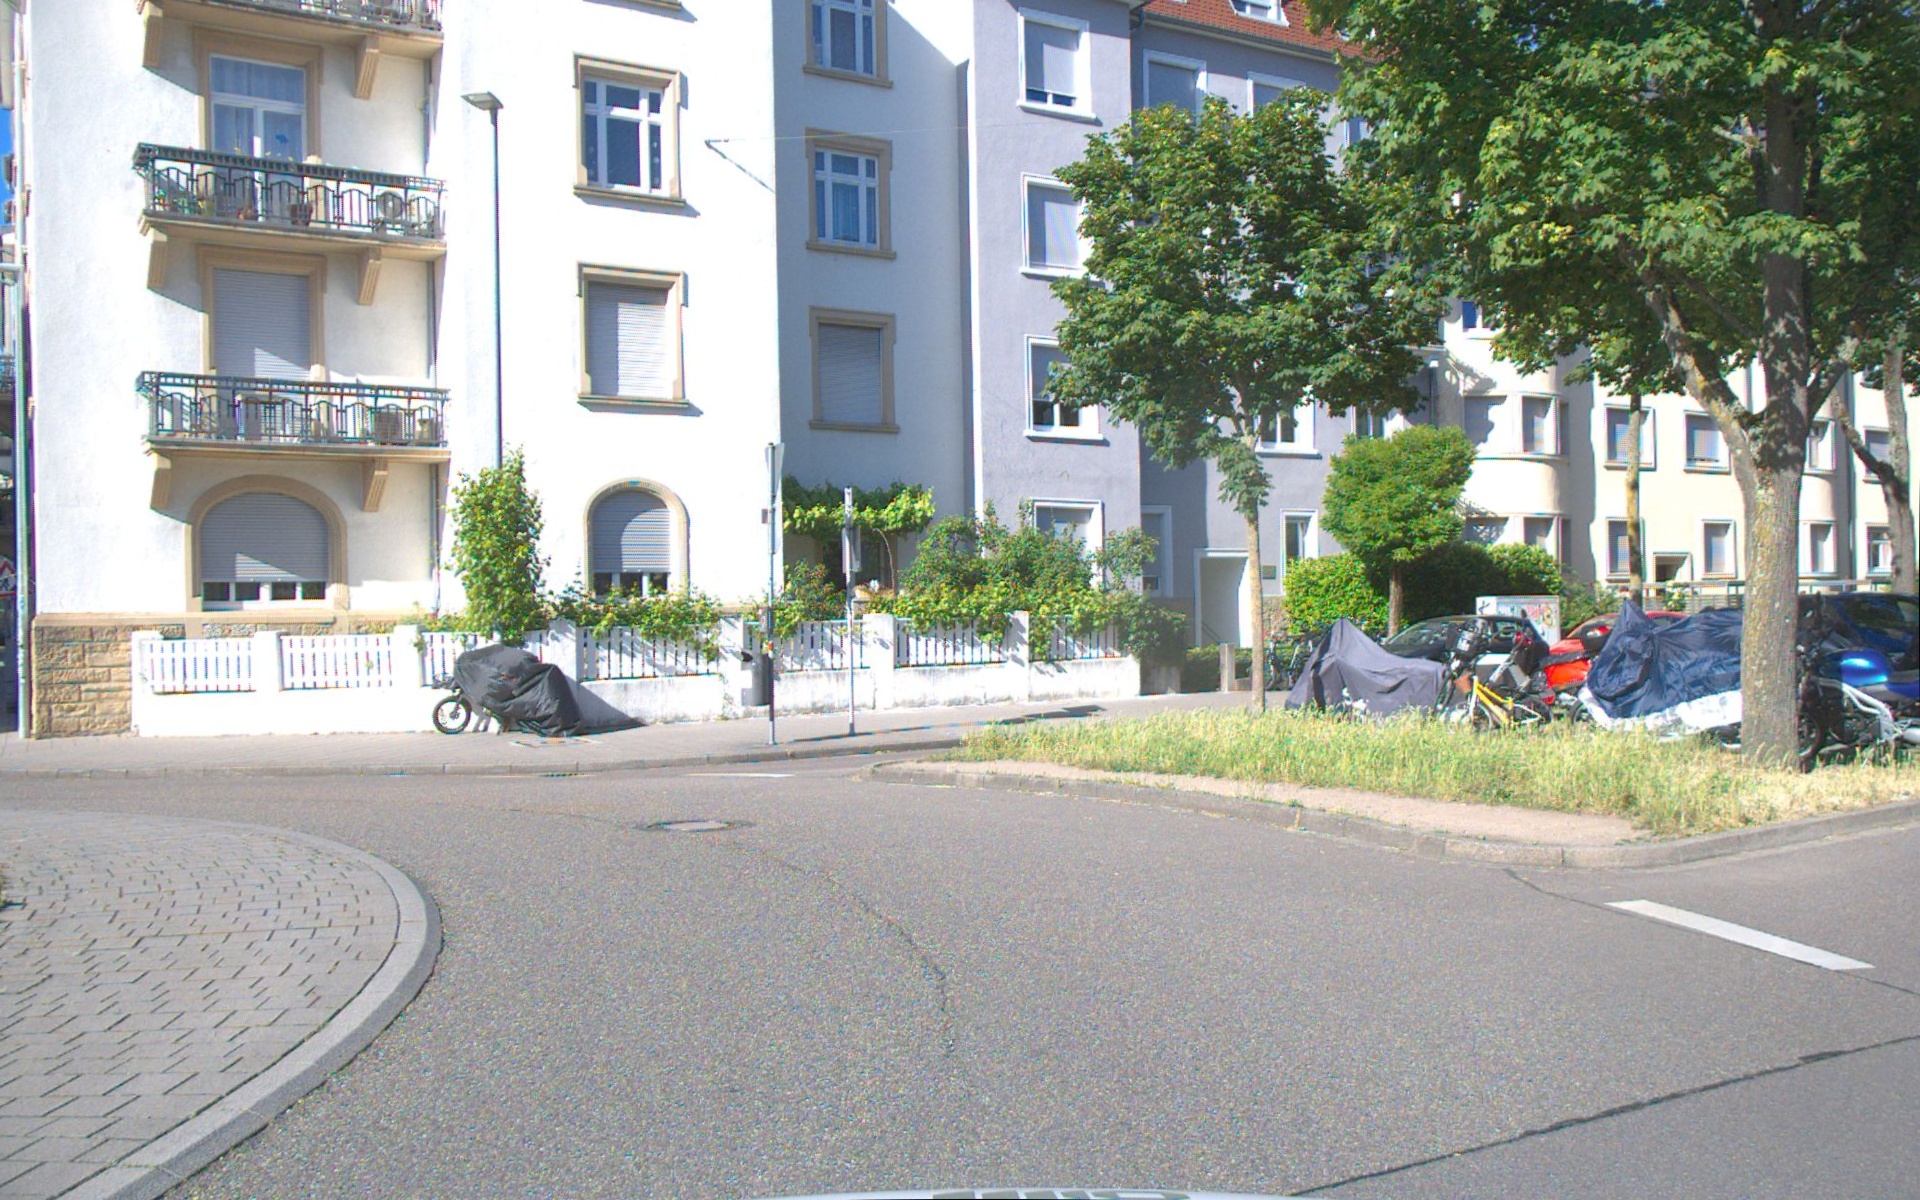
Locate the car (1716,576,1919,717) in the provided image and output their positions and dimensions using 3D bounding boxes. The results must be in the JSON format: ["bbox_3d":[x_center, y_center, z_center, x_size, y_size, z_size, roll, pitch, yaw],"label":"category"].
[{"bbox_3d":[11.795,0.554,21.708,1.762,1.668,3.874,-1,-1,-4],"label":"car"}]

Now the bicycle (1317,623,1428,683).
[{"bbox_3d":[7.989,1.010,31.971,2.226,1.078,0.676,-1,-1,-30],"label":"bicycle"}]

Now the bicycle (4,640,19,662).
[{"bbox_3d":[-56.643,3.014,98.753,0.753,1.268,2.565,0,-1,-30],"label":"bicycle"}]

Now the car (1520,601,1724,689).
[{"bbox_3d":[12.340,0.796,30.781,3.809,1.470,1.732,-1,0,-35],"label":"car"}]

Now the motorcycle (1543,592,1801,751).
[{"bbox_3d":[6.542,0.636,15.303,0.853,1.351,2.028,-1,-1,-35],"label":"motorcycle"}]

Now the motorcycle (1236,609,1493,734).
[{"bbox_3d":[4.538,0.788,18.803,1.115,1.290,2.747,-1,-1,-37],"label":"motorcycle"}]

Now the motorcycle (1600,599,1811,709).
[{"bbox_3d":[9.394,0.665,20.937,1.038,1.290,2.217,-1,-1,-32],"label":"motorcycle"}]

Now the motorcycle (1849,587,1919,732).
[{"bbox_3d":[10.063,0.566,16.221,1.050,1.416,2.102,-1,-1,-34],"label":"motorcycle"}]

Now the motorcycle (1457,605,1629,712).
[{"bbox_3d":[7.232,0.713,20.610,0.878,1.258,1.873,-1,-1,-32],"label":"motorcycle"}]

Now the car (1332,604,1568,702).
[{"bbox_3d":[8.282,0.878,27.854,3.910,1.470,1.732,-1,-2,-35],"label":"car"}]

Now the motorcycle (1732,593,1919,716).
[{"bbox_3d":[9.945,0.588,18.433,1.038,1.290,2.217,-1,-1,-32],"label":"motorcycle"}]

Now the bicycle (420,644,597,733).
[{"bbox_3d":[-6.197,1.209,22.731,2.230,1.178,0.767,-1,-1,12],"label":"bicycle"}]

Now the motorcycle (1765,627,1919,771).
[{"bbox_3d":[7.689,0.792,13.548,0.804,1.091,1.825,-1,1,-32],"label":"motorcycle"}]

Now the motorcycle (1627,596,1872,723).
[{"bbox_3d":[8.670,0.636,18.268,1.038,1.290,2.217,-1,-1,-32],"label":"motorcycle"}]

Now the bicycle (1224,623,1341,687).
[{"bbox_3d":[5.969,1.006,30.586,2.226,1.078,0.676,-1,-1,-30],"label":"bicycle"}]
